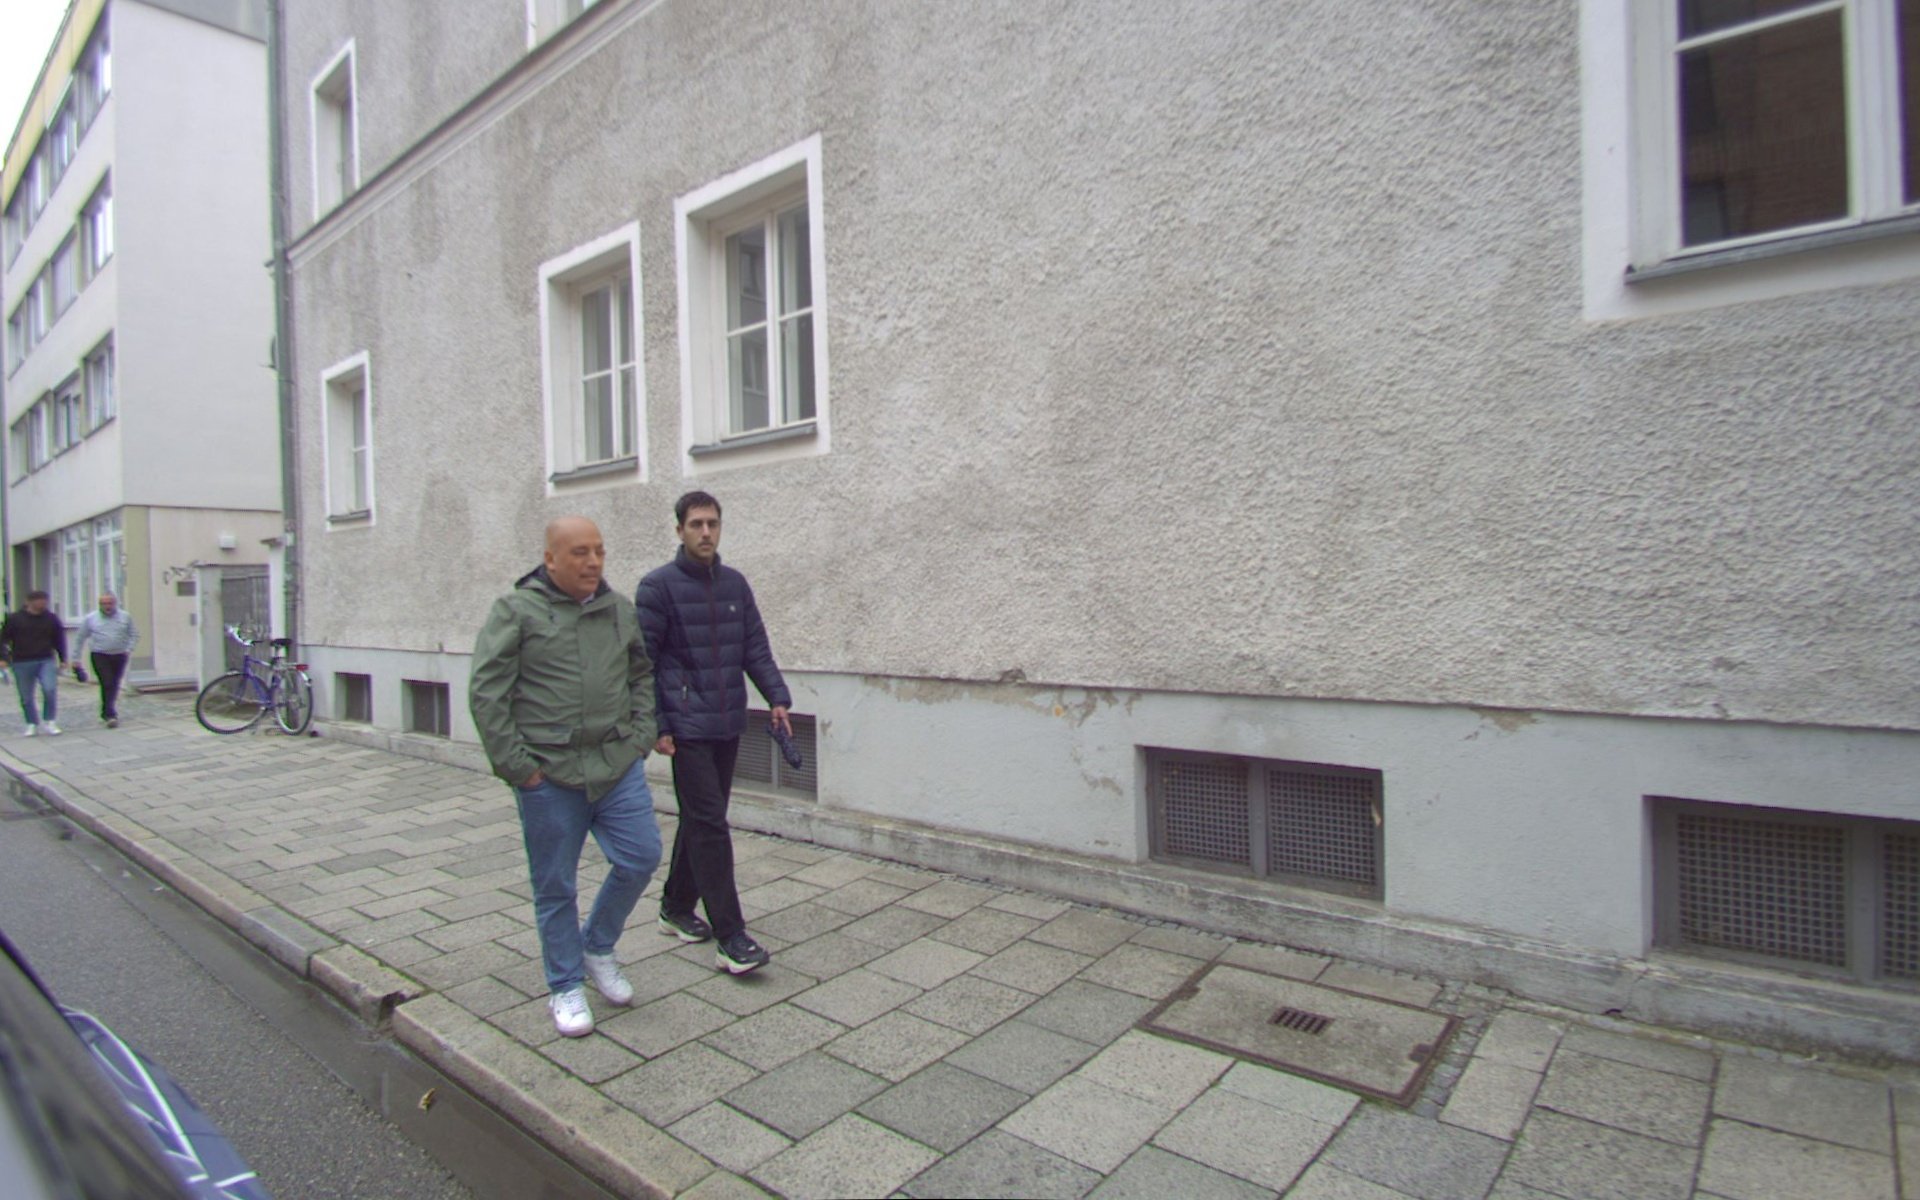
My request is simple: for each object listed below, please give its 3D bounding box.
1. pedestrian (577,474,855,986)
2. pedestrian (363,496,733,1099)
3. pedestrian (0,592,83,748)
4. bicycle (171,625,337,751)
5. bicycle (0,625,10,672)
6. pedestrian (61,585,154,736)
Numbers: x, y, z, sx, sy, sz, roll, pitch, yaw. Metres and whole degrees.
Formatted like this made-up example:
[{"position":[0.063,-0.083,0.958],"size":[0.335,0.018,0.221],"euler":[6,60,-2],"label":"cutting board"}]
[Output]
[{"position":[-0.940,0.430,3.893],"size":[0.823,1.726,0.606],"euler":[-1,2,40],"label":"pedestrian"},{"position":[-1.371,0.536,3.369],"size":[0.906,1.671,0.745],"euler":[-1,2,41],"label":"pedestrian"},{"position":[-11.178,0.810,12.215],"size":[0.837,1.778,0.711],"euler":[-1,2,41],"label":"pedestrian"},{"position":[-7.389,0.880,10.586],"size":[1.653,1.227,0.638],"euler":[0,0,22],"label":"bicycle"},{"position":[-24.920,1.226,25.897],"size":[1.717,1.168,0.557],"euler":[-1,0,35],"label":"bicycle"},{"position":[-10.826,0.731,12.851],"size":[0.916,1.810,0.711],"euler":[-1,2,41],"label":"pedestrian"}]
